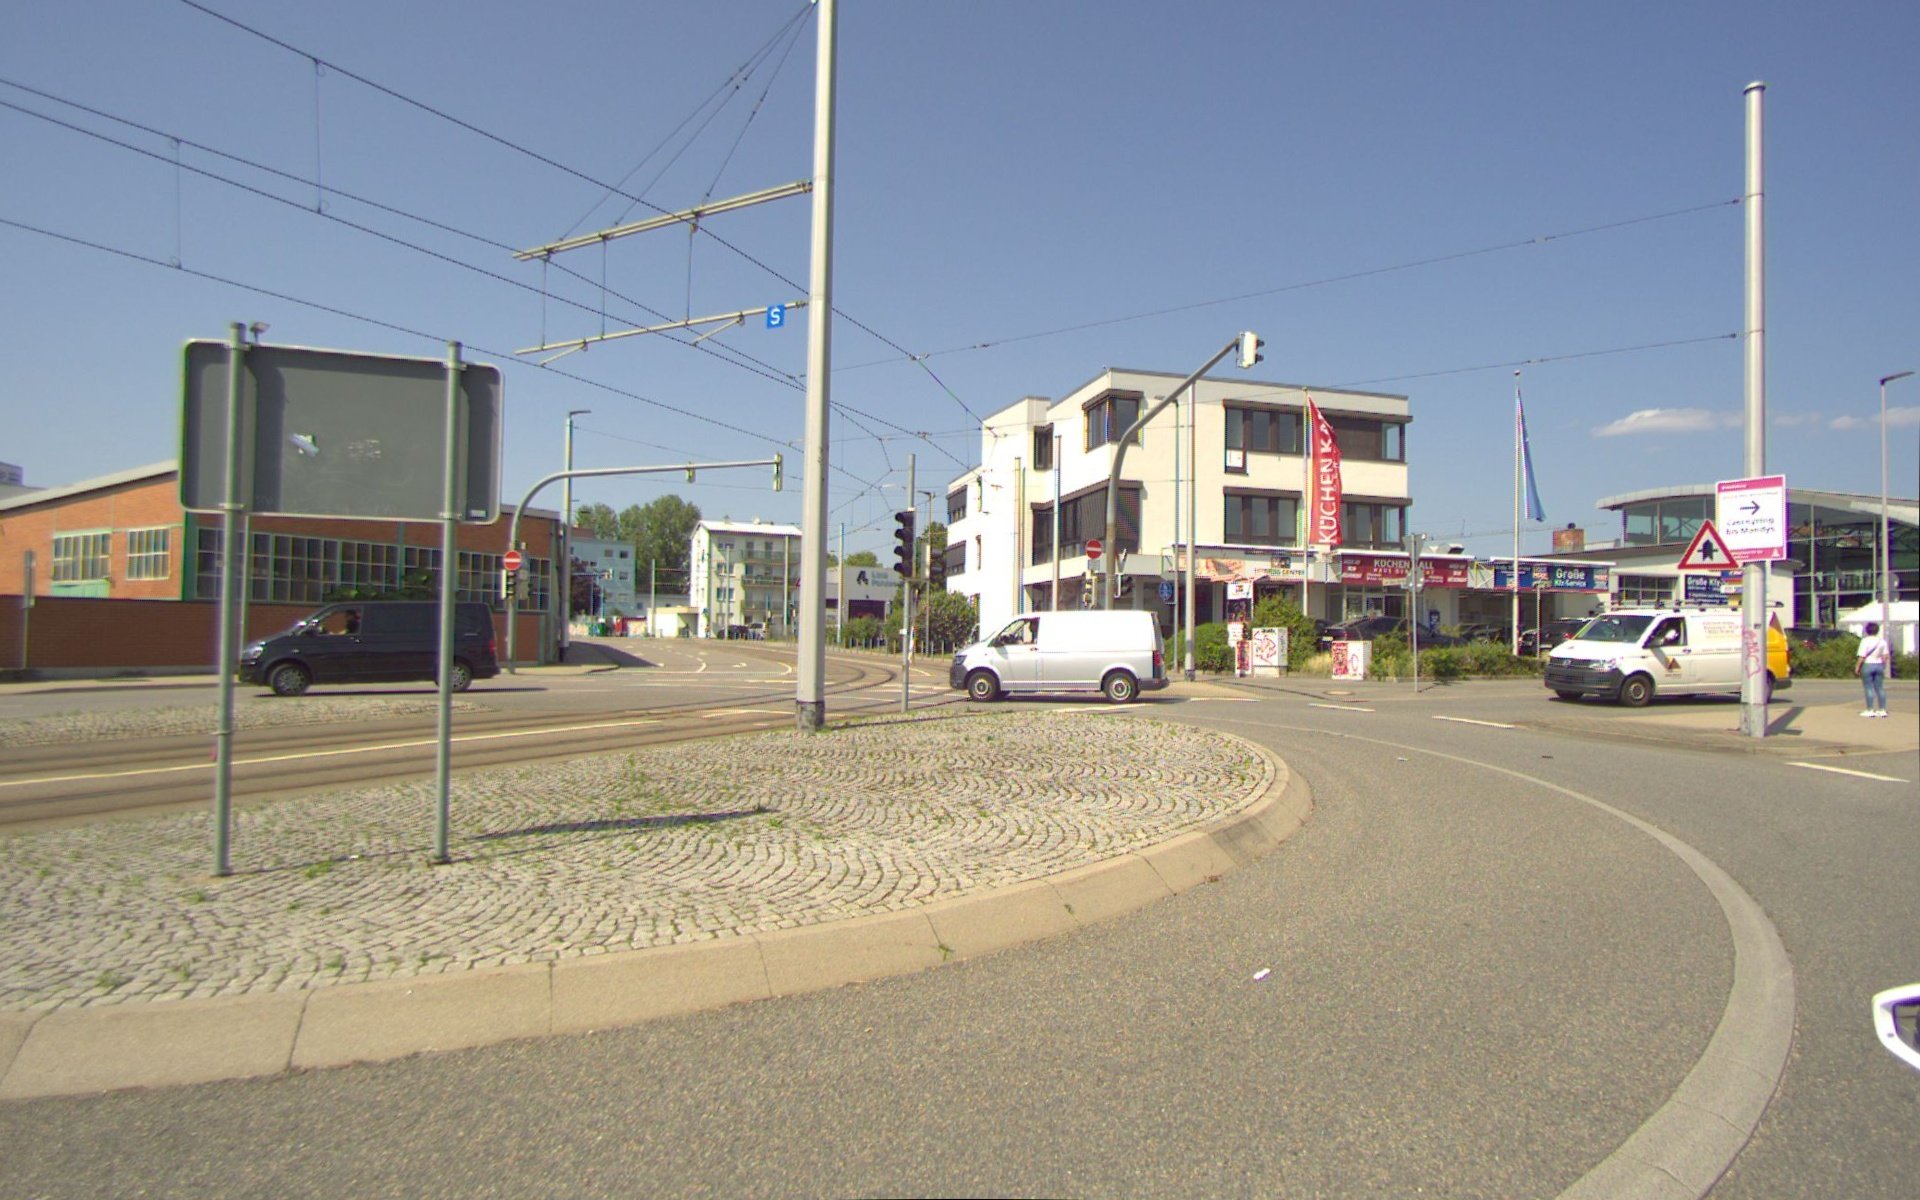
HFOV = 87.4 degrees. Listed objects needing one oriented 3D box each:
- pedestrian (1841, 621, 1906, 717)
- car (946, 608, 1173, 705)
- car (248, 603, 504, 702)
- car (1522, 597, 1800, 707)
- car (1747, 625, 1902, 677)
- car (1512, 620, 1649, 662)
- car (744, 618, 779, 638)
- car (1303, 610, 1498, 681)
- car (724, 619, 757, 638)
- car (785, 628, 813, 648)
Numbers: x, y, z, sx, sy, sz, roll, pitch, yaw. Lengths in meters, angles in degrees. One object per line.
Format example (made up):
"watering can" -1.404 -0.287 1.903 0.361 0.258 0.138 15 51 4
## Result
"pedestrian" 16.528 1.228 18.195 0.748 1.678 0.671 0 -1 32
"car" 2.236 1.189 22.089 4.731 1.961 1.935 0 -1 13
"car" -12.466 1.056 21.710 4.585 1.935 2.081 0 -1 -31
"car" 14.697 1.043 21.176 4.846 2.142 2.024 0 -1 -11
"car" 28.581 1.649 33.266 3.932 1.639 1.995 0 -2 -14
"car" 22.732 1.480 36.834 4.249 1.445 2.025 0 -2 -19
"car" -21.769 3.097 110.167 1.987 2.040 3.949 2 -4 -44
"car" 13.040 1.333 29.820 5.191 1.991 1.961 1 -2 -14
"car" -23.848 3.096 109.217 1.983 1.884 3.957 1 -4 -38
"car" -15.154 3.552 94.558 1.969 1.806 3.985 0 -2 -18
